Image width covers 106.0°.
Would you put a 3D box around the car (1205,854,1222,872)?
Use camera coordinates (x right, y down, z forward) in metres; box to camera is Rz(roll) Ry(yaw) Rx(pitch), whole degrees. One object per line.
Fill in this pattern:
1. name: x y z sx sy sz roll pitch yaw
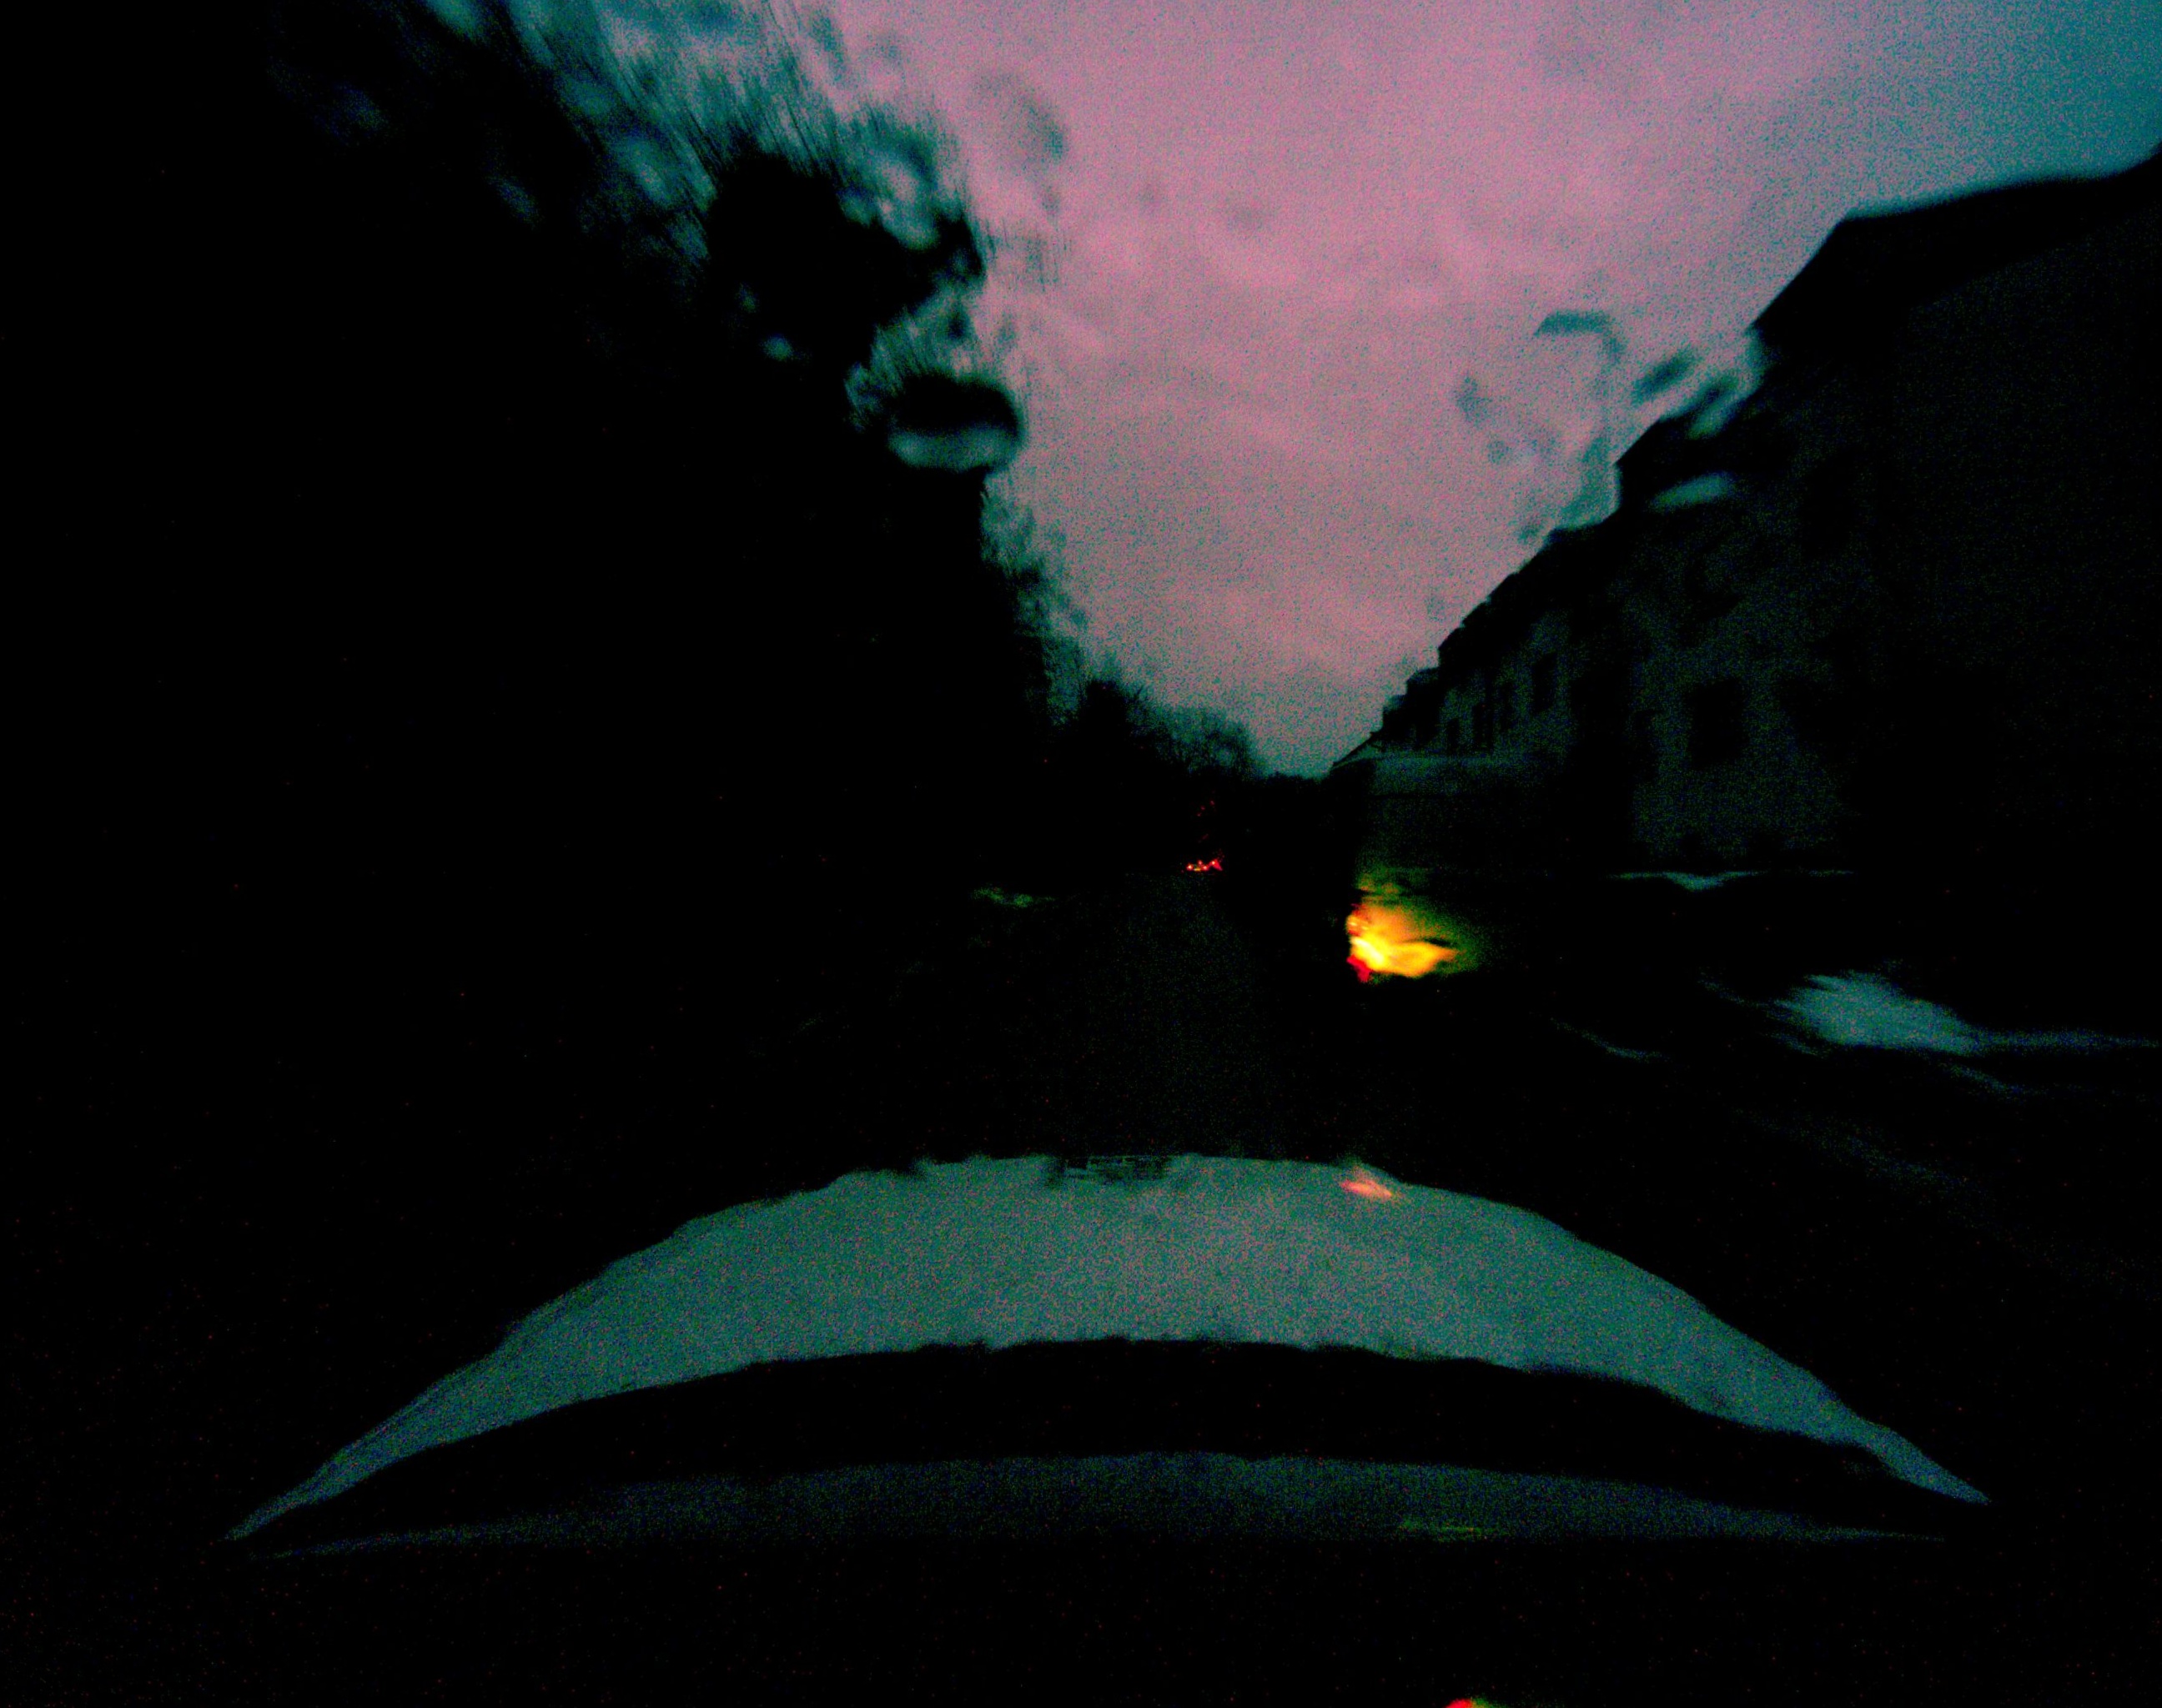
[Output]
1. car: 13.640 0.946 83.567 1.680 1.774 3.870 0 0 9

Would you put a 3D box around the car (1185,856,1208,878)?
1. car: 10.031 1.088 70.605 1.922 1.781 4.009 0 0 8

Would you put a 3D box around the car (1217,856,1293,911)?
1. car: 4.846 0.782 23.154 1.647 1.390 4.540 0 -1 6

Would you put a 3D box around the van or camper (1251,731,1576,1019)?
1. van or camper: 3.620 0.180 10.546 2.004 2.507 6.803 0 0 5
